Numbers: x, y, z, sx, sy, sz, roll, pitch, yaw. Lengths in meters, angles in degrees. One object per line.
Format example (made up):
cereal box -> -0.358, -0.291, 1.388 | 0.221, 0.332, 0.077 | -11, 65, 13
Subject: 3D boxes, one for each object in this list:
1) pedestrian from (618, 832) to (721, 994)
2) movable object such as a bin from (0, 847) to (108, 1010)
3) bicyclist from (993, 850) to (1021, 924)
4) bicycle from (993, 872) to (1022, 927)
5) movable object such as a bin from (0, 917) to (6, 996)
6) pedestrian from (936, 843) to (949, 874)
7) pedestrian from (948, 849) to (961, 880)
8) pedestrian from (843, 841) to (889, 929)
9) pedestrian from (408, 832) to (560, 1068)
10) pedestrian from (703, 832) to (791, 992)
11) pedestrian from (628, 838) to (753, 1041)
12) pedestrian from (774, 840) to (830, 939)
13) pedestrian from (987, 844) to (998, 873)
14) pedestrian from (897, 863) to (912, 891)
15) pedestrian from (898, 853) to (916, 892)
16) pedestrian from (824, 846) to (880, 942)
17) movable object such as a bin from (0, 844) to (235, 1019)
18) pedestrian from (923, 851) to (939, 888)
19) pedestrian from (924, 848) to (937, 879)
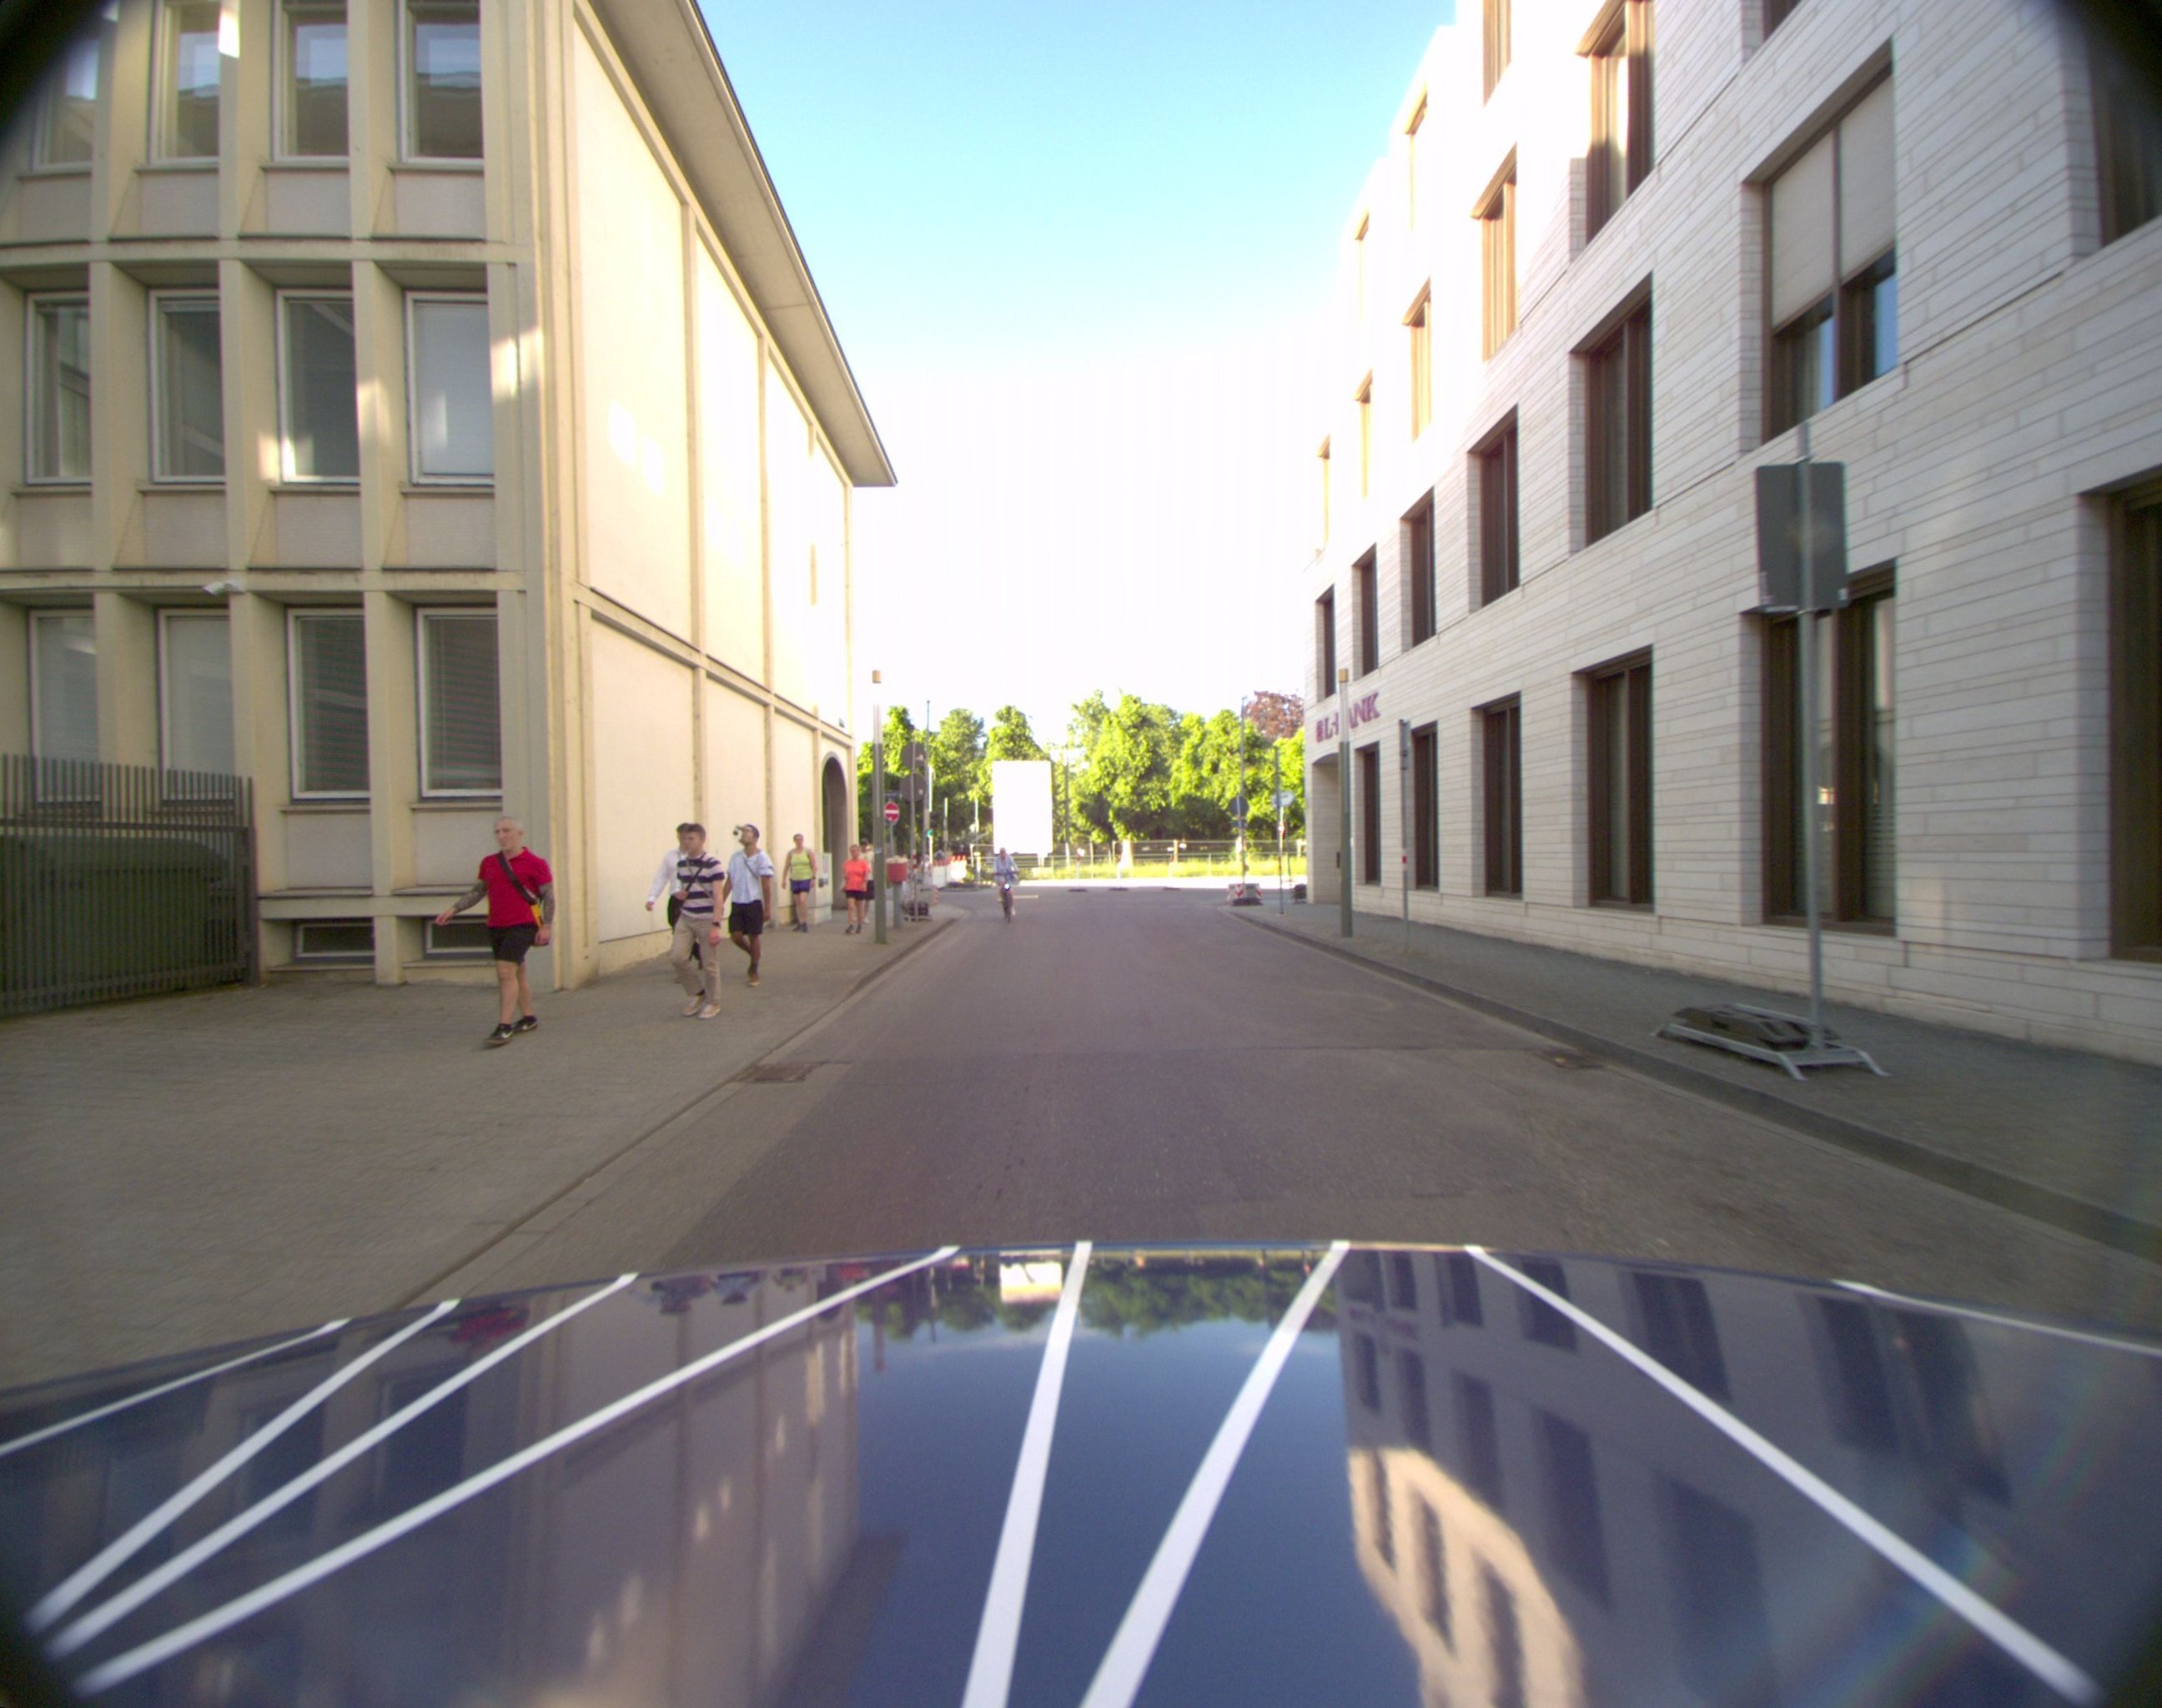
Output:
pedestrian -> -4.756, 0.658, 8.815 | 0.685, 1.768, 0.693 | 5, 1, 0
movable object such as a bin -> -10.057, 0.674, 6.743 | 0.969, 1.428, 1.382 | -2, 2, -1
bicyclist -> -1.706, 0.750, 17.629 | 0.586, 1.679, 0.538 | -2, 2, -6
bicycle -> -1.718, 1.018, 17.588 | 0.596, 1.077, 2.309 | -2, 1, -6
movable object such as a bin -> -11.100, 0.702, 6.771 | 0.969, 1.428, 1.382 | -2, 2, -1
pedestrian -> -8.064, 0.268, 44.177 | 0.626, 1.773, 0.622 | -2, 2, -7
pedestrian -> -7.340, 0.599, 44.061 | 0.626, 1.773, 0.622 | -2, 2, -7
pedestrian -> -4.332, 0.613, 15.349 | 0.685, 1.706, 0.693 | 2, 1, 0
pedestrian -> -4.737, 0.728, 6.062 | 0.685, 1.768, 0.593 | 3, 1, 0
pedestrian -> -3.854, 0.643, 8.801 | 0.685, 1.768, 0.693 | 1, 1, 0
pedestrian -> -3.637, 0.764, 7.126 | 0.685, 1.768, 0.693 | 5, 1, 0
pedestrian -> -4.940, 0.613, 13.502 | 0.685, 1.706, 0.693 | 2, 1, 0
pedestrian -> -5.564, 0.291, 47.762 | 0.626, 1.773, 0.622 | -2, 2, -7
pedestrian -> -7.799, 1.018, 33.576 | 0.535, 1.170, 0.622 | -2, 2, -7
pedestrian -> -7.521, 0.787, 32.877 | 0.626, 1.633, 0.622 | -2, 2, -7
pedestrian -> -4.062, 0.687, 13.500 | 0.685, 1.627, 0.693 | 4, 1, 0
movable object such as a bin -> -9.042, 0.643, 6.951 | 0.969, 1.428, 1.382 | -2, 2, -1
pedestrian -> -6.682, 0.678, 33.822 | 0.626, 1.604, 0.622 | -2, 2, -7
pedestrian -> -8.740, 0.536, 44.138 | 0.626, 1.773, 0.622 | -2, 2, -7
